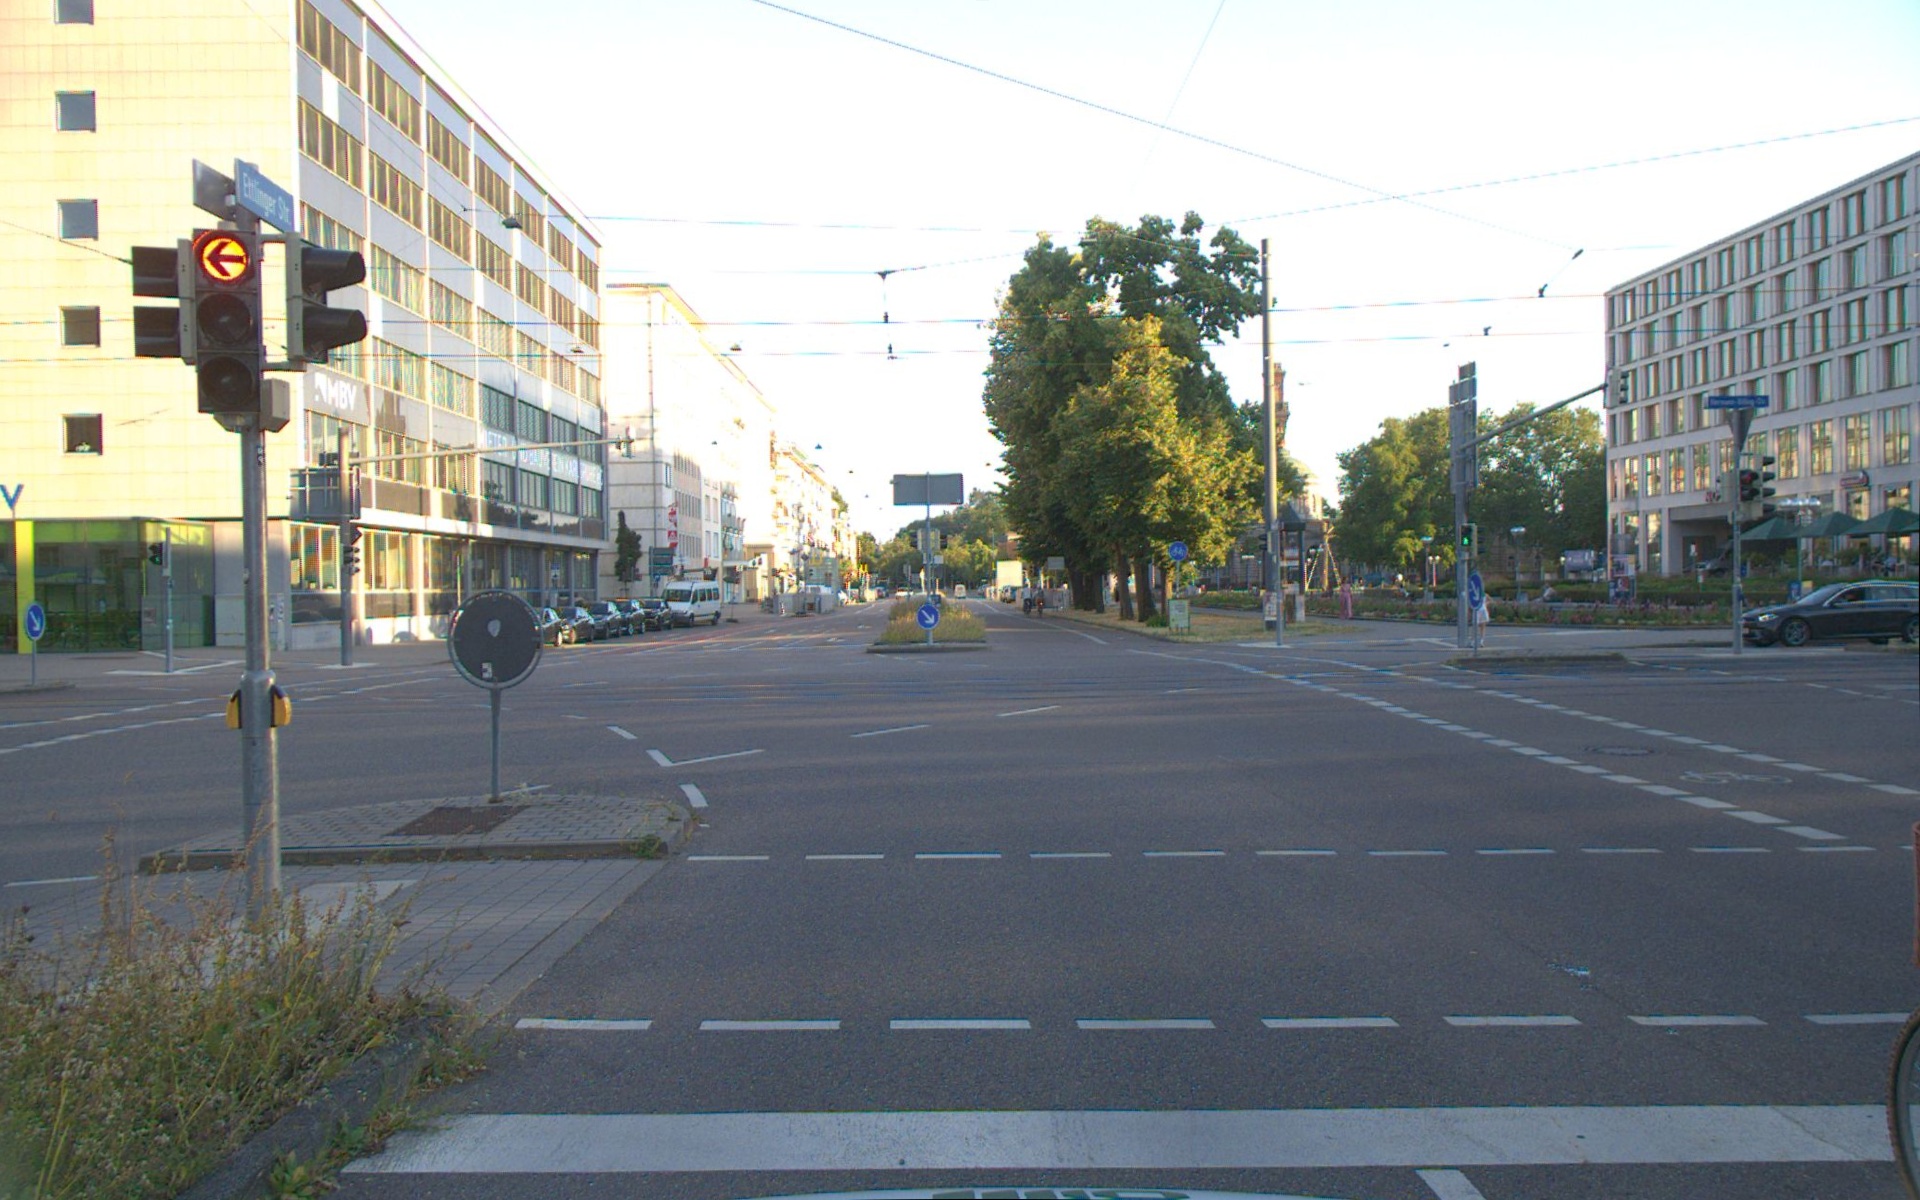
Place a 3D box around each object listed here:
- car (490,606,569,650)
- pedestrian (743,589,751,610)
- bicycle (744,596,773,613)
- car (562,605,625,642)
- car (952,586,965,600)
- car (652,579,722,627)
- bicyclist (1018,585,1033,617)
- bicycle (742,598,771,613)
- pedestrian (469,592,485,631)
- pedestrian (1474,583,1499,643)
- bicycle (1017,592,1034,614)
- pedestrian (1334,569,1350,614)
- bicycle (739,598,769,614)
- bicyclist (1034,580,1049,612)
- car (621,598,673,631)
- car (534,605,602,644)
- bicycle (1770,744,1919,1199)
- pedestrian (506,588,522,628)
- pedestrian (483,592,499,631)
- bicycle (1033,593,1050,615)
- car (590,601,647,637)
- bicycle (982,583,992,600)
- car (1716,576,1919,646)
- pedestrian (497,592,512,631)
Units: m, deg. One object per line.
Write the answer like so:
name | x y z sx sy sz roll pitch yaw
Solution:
car | -16.006 1.028 61.683 1.882 1.489 4.102 -1 0 -1
pedestrian | -21.133 -0.087 164.418 0.666 2.049 0.545 -1 0 -1
bicycle | -15.659 0.366 128.641 2.161 1.258 0.839 -1 0 -2
car | -16.135 1.008 72.992 1.882 1.489 3.999 -1 0 -1
car | -0.206 -0.873 201.667 1.379 1.670 3.998 -1 0 -2
car | -14.939 0.140 91.002 1.958 2.521 5.873 -1 0 9
bicyclist | 3.535 0.041 89.911 0.731 1.692 0.873 -1 0 -1
bicycle | -15.574 0.418 126.687 2.161 1.131 0.689 -1 0 -2
pedestrian | -21.135 0.496 72.351 0.540 1.708 0.500 -1 0 -1
pedestrian | 13.825 0.335 43.435 0.480 1.566 0.408 -1 0 -1
bicycle | 3.568 0.138 90.180 0.731 1.164 2.505 -1 0 -1
pedestrian | 14.621 -0.323 63.320 0.451 1.685 0.566 -1 0 -1
bicycle | -15.583 0.460 125.213 2.161 1.131 0.618 -1 0 -3
bicyclist | 4.441 -0.198 90.178 0.731 1.720 0.799 -1 0 -1
car | -15.957 0.728 84.527 1.882 1.595 3.999 -1 0 -1
car | -16.115 0.988 68.178 1.882 1.489 3.999 -1 0 -1
bicycle | 2.184 0.916 2.816 0.599 1.152 2.004 1 0 -1
pedestrian | -19.542 0.343 72.468 0.540 1.708 0.500 -1 0 -1
pedestrian | -20.746 0.507 73.185 0.540 1.708 0.500 -1 0 -1
bicycle | 4.452 0.233 90.264 0.731 1.164 2.505 -1 0 -1
car | -16.131 0.876 78.295 1.882 1.595 3.999 -1 0 -1
bicycle | 3.409 -1.054 207.833 0.981 2.049 4.002 -1 0 3
car | 21.079 0.240 39.934 4.724 1.542 2.000 -1 0 1
pedestrian | -20.133 0.502 73.141 0.490 1.708 0.500 -1 0 -1
